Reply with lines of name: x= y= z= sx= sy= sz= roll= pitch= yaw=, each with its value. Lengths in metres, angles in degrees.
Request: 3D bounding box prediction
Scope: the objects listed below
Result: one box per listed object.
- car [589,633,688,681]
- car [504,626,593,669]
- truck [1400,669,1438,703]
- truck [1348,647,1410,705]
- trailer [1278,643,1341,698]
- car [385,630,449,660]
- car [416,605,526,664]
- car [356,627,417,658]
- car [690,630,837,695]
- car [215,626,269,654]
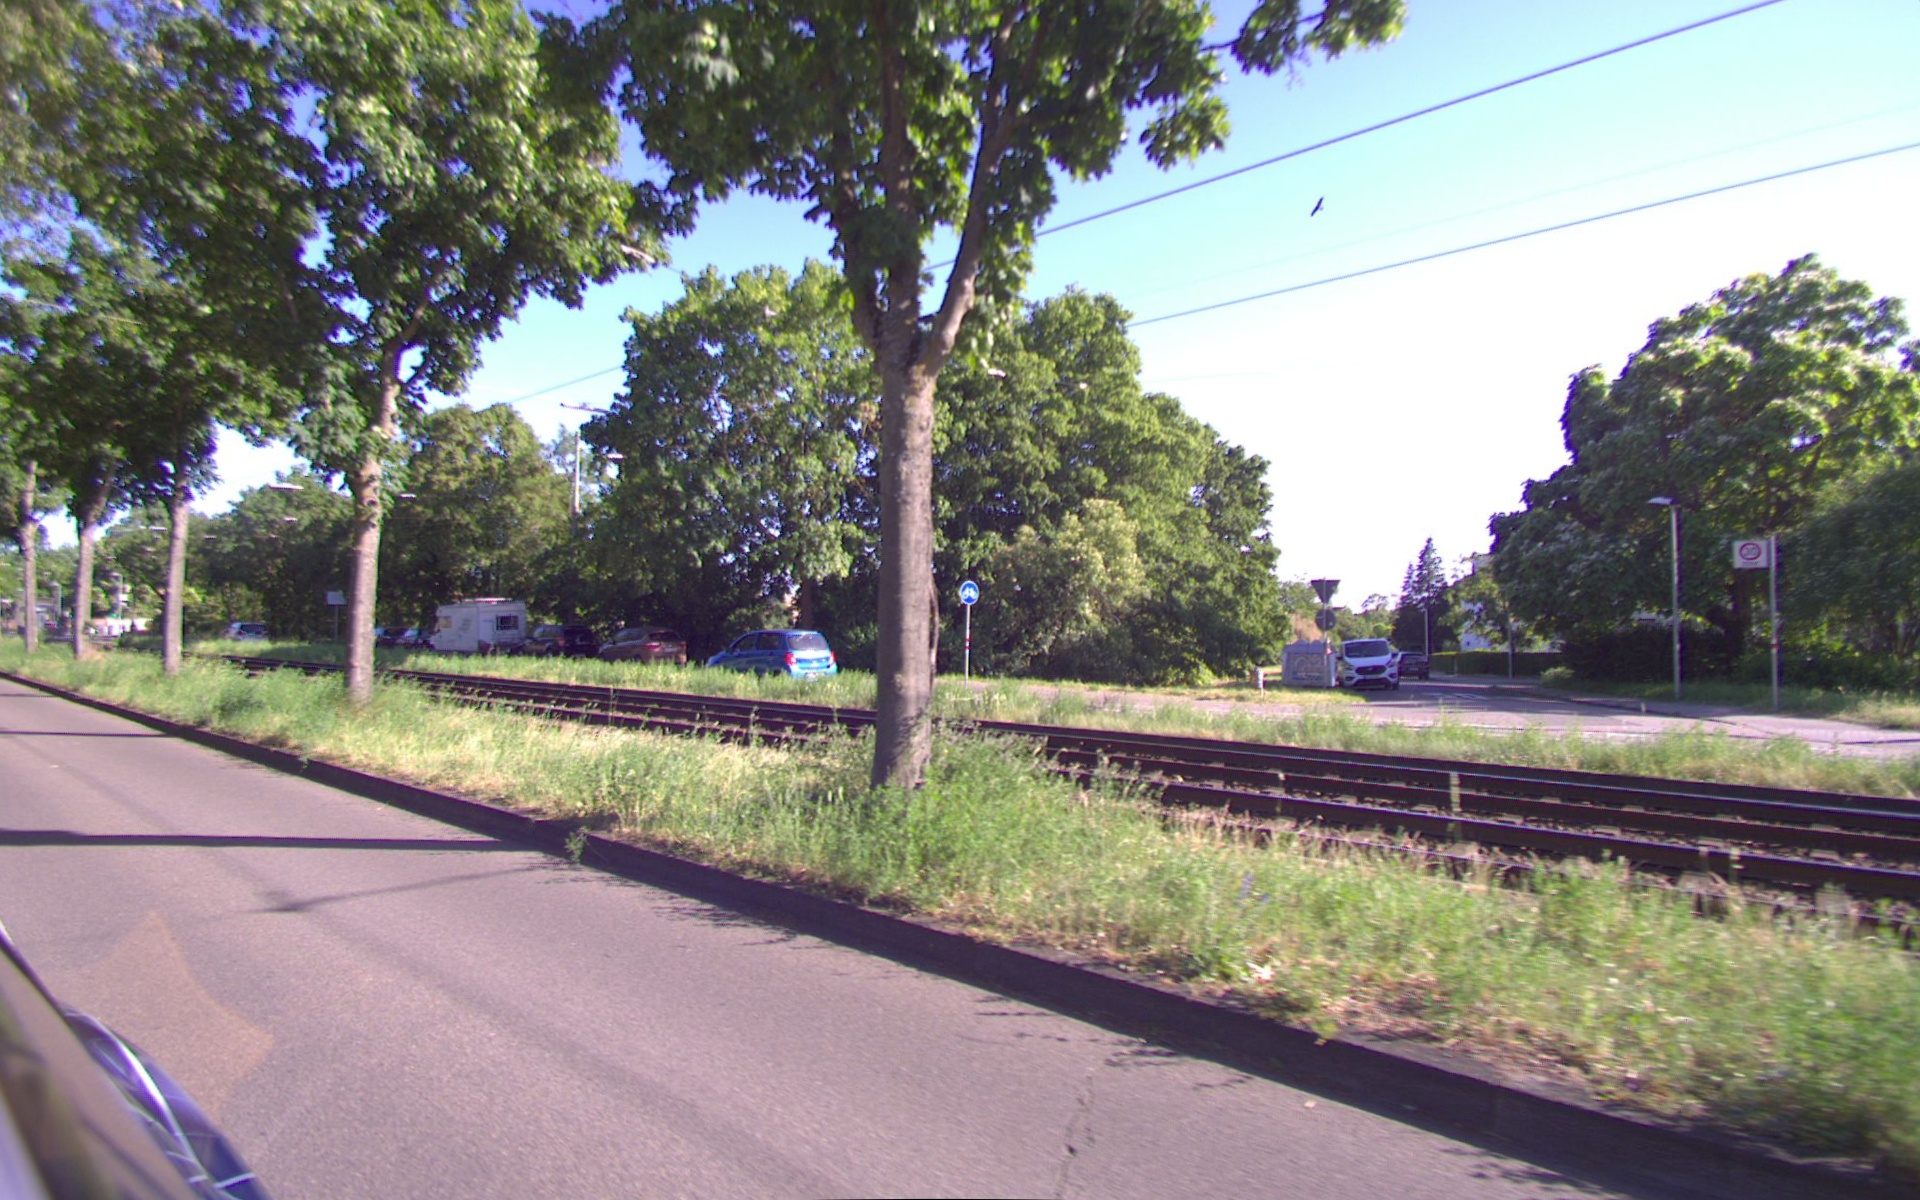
car: x=-12.017 y=2.072 z=37.703 sx=4.248 sy=1.596 sz=1.656 roll=-1 pitch=-1 yaw=43
car: x=-17.292 y=1.945 z=42.422 sx=4.530 sy=1.635 sz=1.605 roll=-1 pitch=-1 yaw=41
truck: x=26.463 y=4.927 z=58.442 sx=1.875 sy=1.686 sz=3.865 roll=0 pitch=-1 yaw=23
truck: x=15.963 y=2.834 z=38.718 sx=2.069 sy=1.883 sz=4.907 roll=0 pitch=-1 yaw=21
trailer: x=11.018 y=2.156 z=31.744 sx=1.741 sy=1.516 sz=3.733 roll=0 pitch=-1 yaw=21
car: x=-28.122 y=2.292 z=52.332 sx=3.999 sy=1.445 sz=1.692 roll=-1 pitch=-1 yaw=42
car: x=-22.908 y=1.590 z=47.270 sx=6.795 sy=2.600 sz=2.202 roll=-2 pitch=-2 yaw=41
car: x=-31.509 y=2.290 z=55.558 sx=4.282 sy=1.575 sz=1.748 roll=-1 pitch=-2 yaw=43
car: x=-4.857 y=1.473 z=24.784 sx=3.818 sy=1.405 sz=1.540 roll=-1 pitch=-1 yaw=41
car: x=-42.782 y=2.358 z=60.264 sx=4.441 sy=1.539 sz=1.708 roll=-1 pitch=-1 yaw=42
